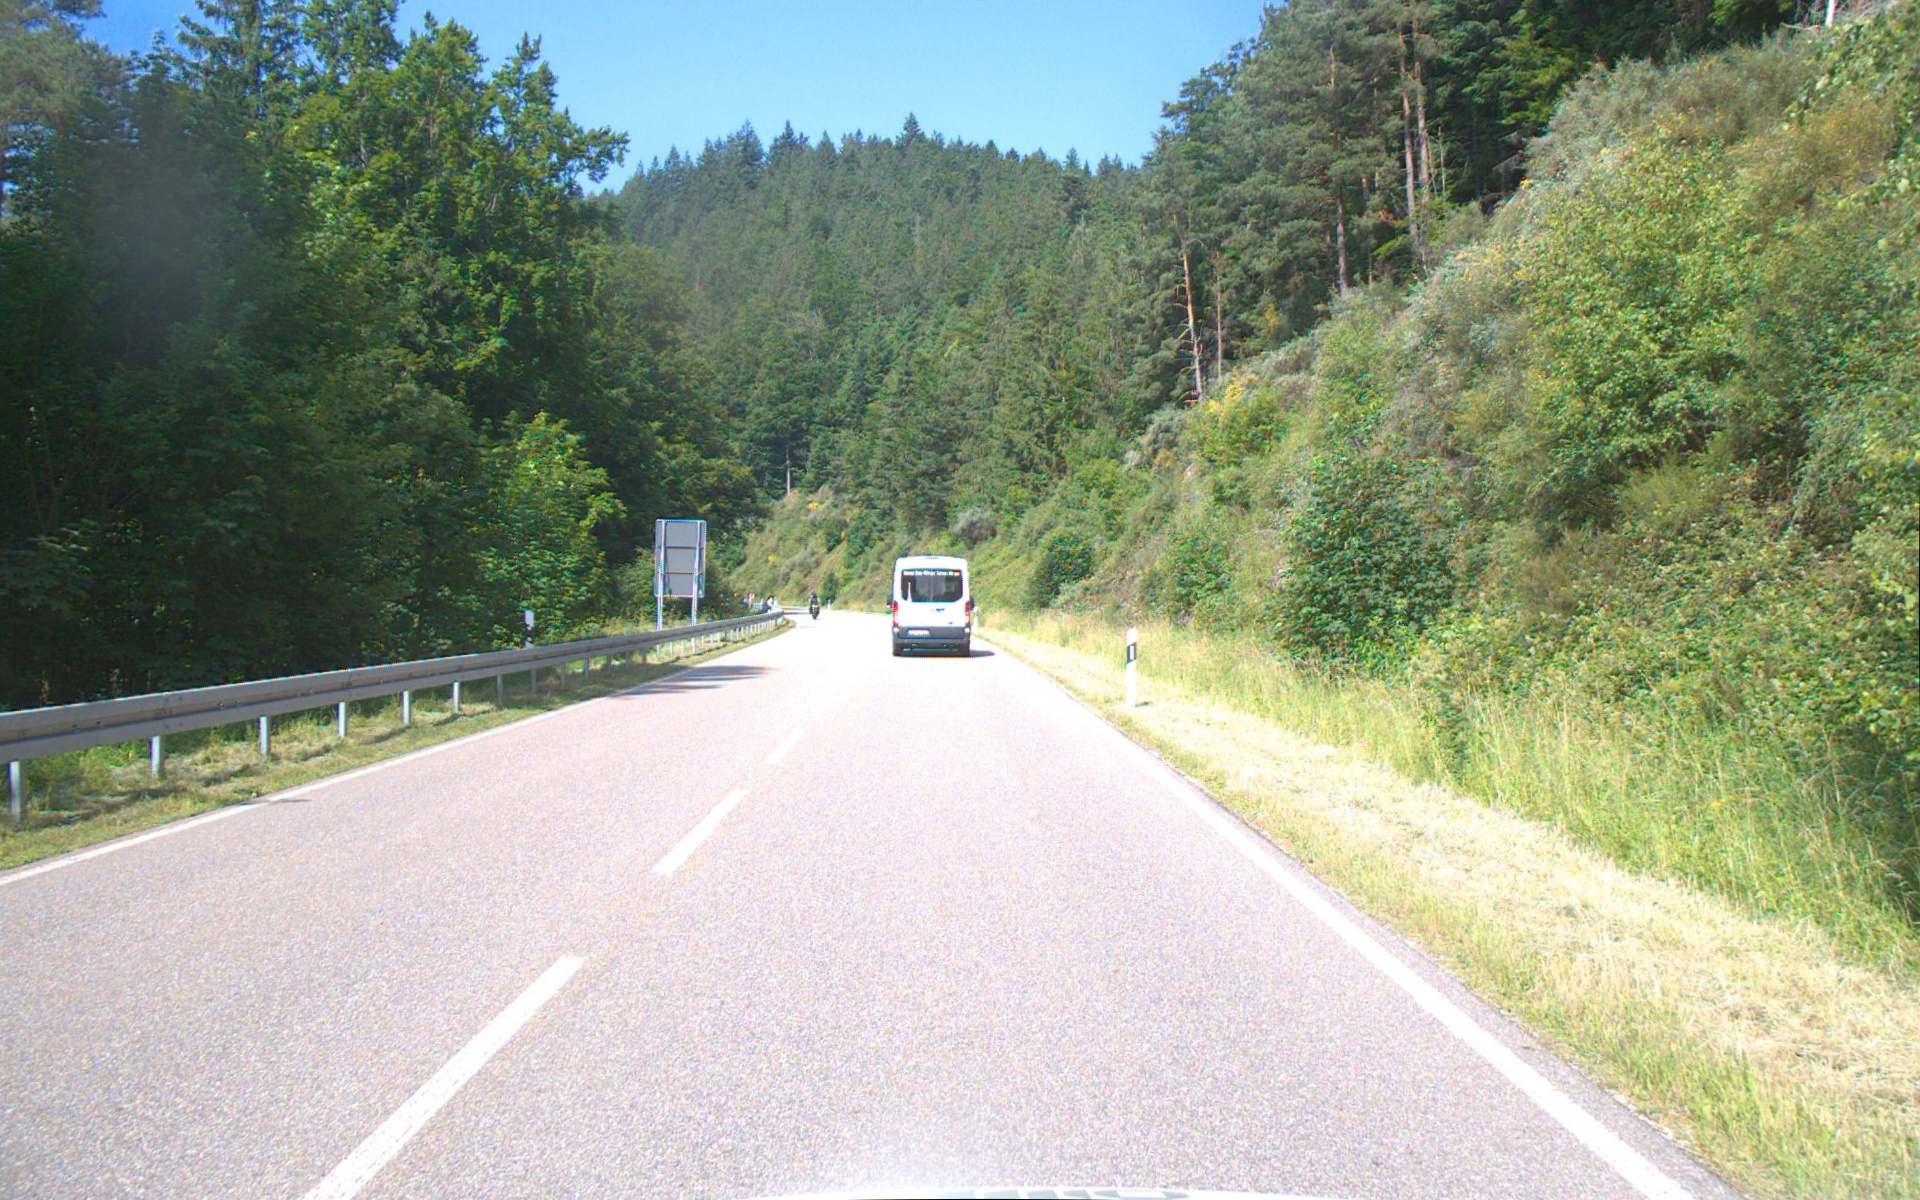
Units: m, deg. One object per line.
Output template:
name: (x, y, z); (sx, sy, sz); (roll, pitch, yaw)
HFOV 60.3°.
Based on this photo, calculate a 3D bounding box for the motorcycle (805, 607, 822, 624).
motorcycle: (-9.503, 1.010, 107.489); (0.965, 1.090, 1.962); (0, 0, -2)

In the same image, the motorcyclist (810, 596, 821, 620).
motorcyclist: (-9.383, 0.544, 107.417); (0.645, 1.539, 0.933); (0, 0, -3)

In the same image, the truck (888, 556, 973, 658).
truck: (-0.821, 0.167, 43.174); (2.042, 2.503, 4.872); (0, 0, -3)
